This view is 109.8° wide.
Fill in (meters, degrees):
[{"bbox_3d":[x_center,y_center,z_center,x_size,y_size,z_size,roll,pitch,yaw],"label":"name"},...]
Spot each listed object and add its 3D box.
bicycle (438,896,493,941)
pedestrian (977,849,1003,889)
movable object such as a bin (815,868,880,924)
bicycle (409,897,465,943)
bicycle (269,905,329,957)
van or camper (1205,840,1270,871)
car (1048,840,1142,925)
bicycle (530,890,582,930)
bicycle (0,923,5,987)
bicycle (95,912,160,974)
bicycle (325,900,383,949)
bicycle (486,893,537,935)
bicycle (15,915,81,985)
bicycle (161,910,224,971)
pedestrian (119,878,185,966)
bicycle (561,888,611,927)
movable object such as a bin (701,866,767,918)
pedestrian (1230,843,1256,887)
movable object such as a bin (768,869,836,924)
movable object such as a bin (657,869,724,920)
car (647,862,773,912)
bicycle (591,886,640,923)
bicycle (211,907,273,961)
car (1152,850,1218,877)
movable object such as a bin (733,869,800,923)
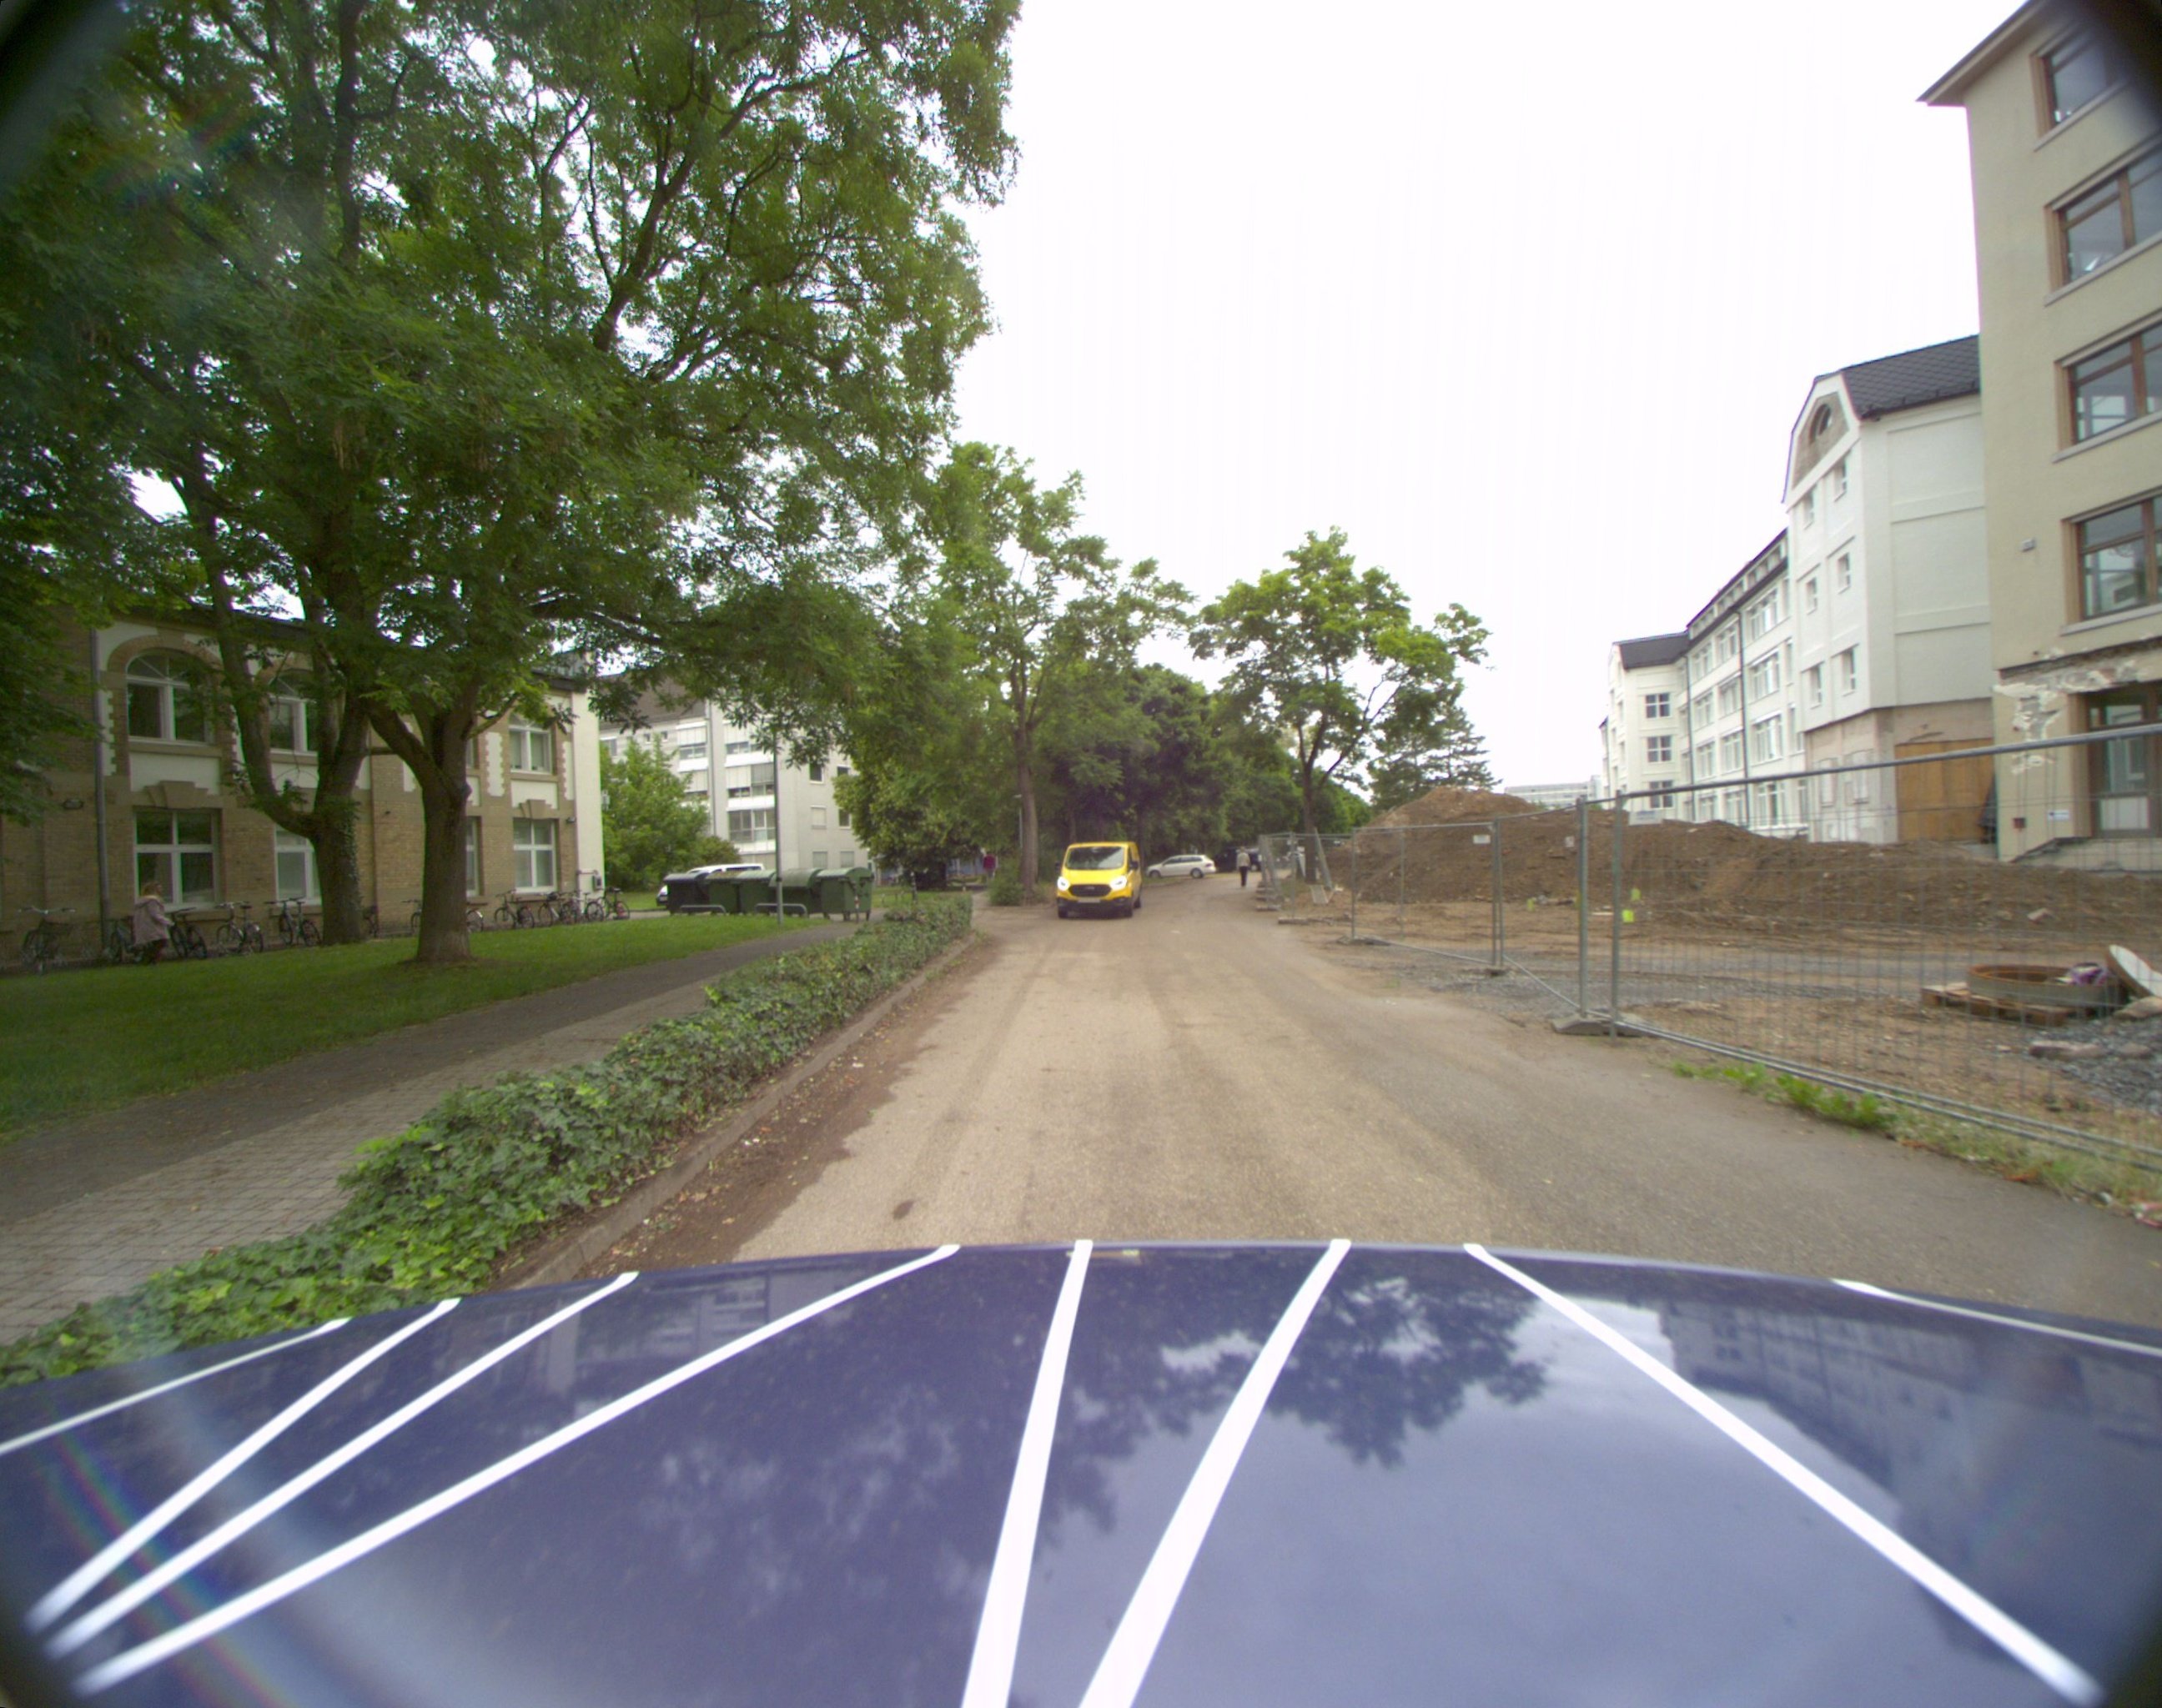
[{"bbox_3d":[-16.307,1.699,20.118,1.740,1.108,0.461,-2,0,28],"label":"bicycle"},{"bbox_3d":[-4.801,0.790,40.128,0.793,2.052,1.203,-2,0,22],"label":"pedestrian"},{"bbox_3d":[-6.269,1.110,20.438,1.272,1.426,1.074,-2,0,35],"label":"movable object such as a bin"},{"bbox_3d":[-16.595,1.686,19.556,1.740,1.108,0.461,-2,0,28],"label":"bicycle"},{"bbox_3d":[-17.721,1.718,17.206,1.740,1.108,0.461,-2,0,28],"label":"bicycle"},{"bbox_3d":[12.212,0.135,59.260,4.490,2.245,2.003,-2,0,27],"label":"van or camper"},{"bbox_3d":[0.495,0.699,20.567,2.123,2.002,4.002,-2,0,6],"label":"car"},{"bbox_3d":[-15.359,1.630,22.227,1.740,1.108,0.461,-2,0,28],"label":"bicycle"},{"bbox_3d":[-19.567,1.755,13.395,1.740,1.108,0.461,0,1,28],"label":"bicycle"},{"bbox_3d":[-18.802,1.731,14.979,1.740,1.108,0.461,-1,1,28],"label":"bicycle"},{"bbox_3d":[-17.357,1.665,18.130,1.740,1.108,0.461,-2,1,28],"label":"bicycle"},{"bbox_3d":[-15.869,1.664,21.150,1.740,1.108,0.461,-2,0,30],"label":"bicycle"},{"bbox_3d":[-19.120,1.757,14.055,1.740,1.108,0.461,1,2,28],"label":"bicycle"},{"bbox_3d":[-18.364,1.763,15.689,1.740,1.108,0.461,1,2,28],"label":"bicycle"},{"bbox_3d":[-17.506,1.263,14.321,0.602,1.577,0.628,-2,1,27],"label":"pedestrian"},{"bbox_3d":[-14.985,1.609,22.987,1.740,1.108,0.461,-2,0,28],"label":"bicycle"},{"bbox_3d":[-10.207,1.120,22.384,1.324,1.442,1.110,-2,0,21],"label":"movable object such as a bin"},{"bbox_3d":[6.611,0.453,31.034,0.752,1.771,0.662,-2,1,-24],"label":"pedestrian"},{"bbox_3d":[-7.667,1.164,20.920,1.283,1.442,1.110,-2,0,25],"label":"movable object such as a bin"},{"bbox_3d":[-11.743,1.199,22.884,1.359,1.442,1.110,-2,0,21],"label":"movable object such as a bin"},{"bbox_3d":[-16.547,1.422,34.186,1.897,1.862,4.781,-5,-1,28],"label":"car"},{"bbox_3d":[-14.601,1.569,23.821,1.740,1.108,0.461,-2,0,27],"label":"bicycle"},{"bbox_3d":[-18.170,1.713,16.441,1.740,1.108,0.461,-2,0,28],"label":"bicycle"},{"bbox_3d":[6.566,0.588,47.970,3.879,1.565,1.754,-2,0,15],"label":"car"},{"bbox_3d":[-8.972,1.200,21.732,1.292,1.442,1.110,-2,0,21],"label":"movable object such as a bin"}]
